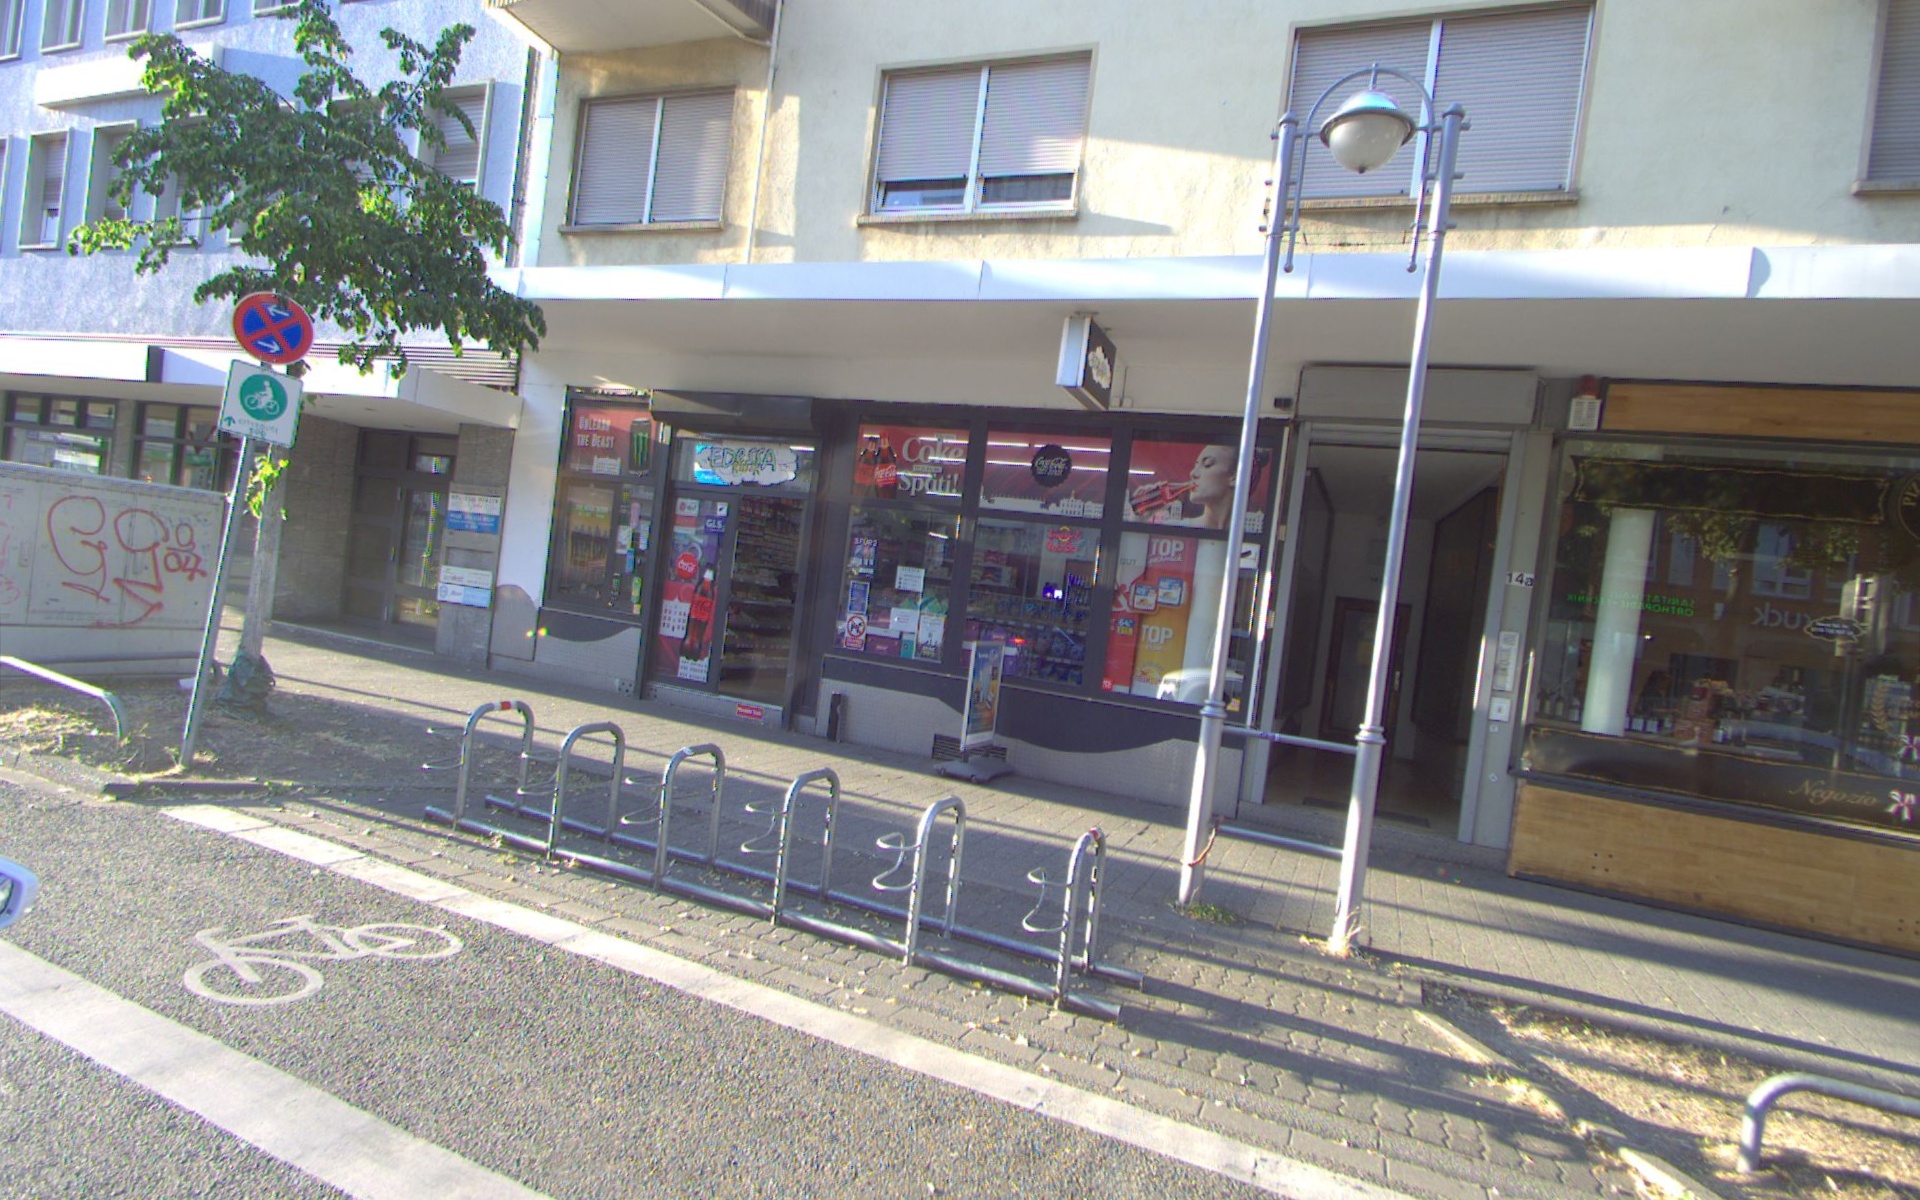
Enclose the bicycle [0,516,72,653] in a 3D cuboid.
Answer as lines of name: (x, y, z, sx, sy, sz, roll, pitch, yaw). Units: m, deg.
bicycle: (-9.112, -0.188, 9.125, 0.376, 1.234, 1.446, 7, -1, 25)
